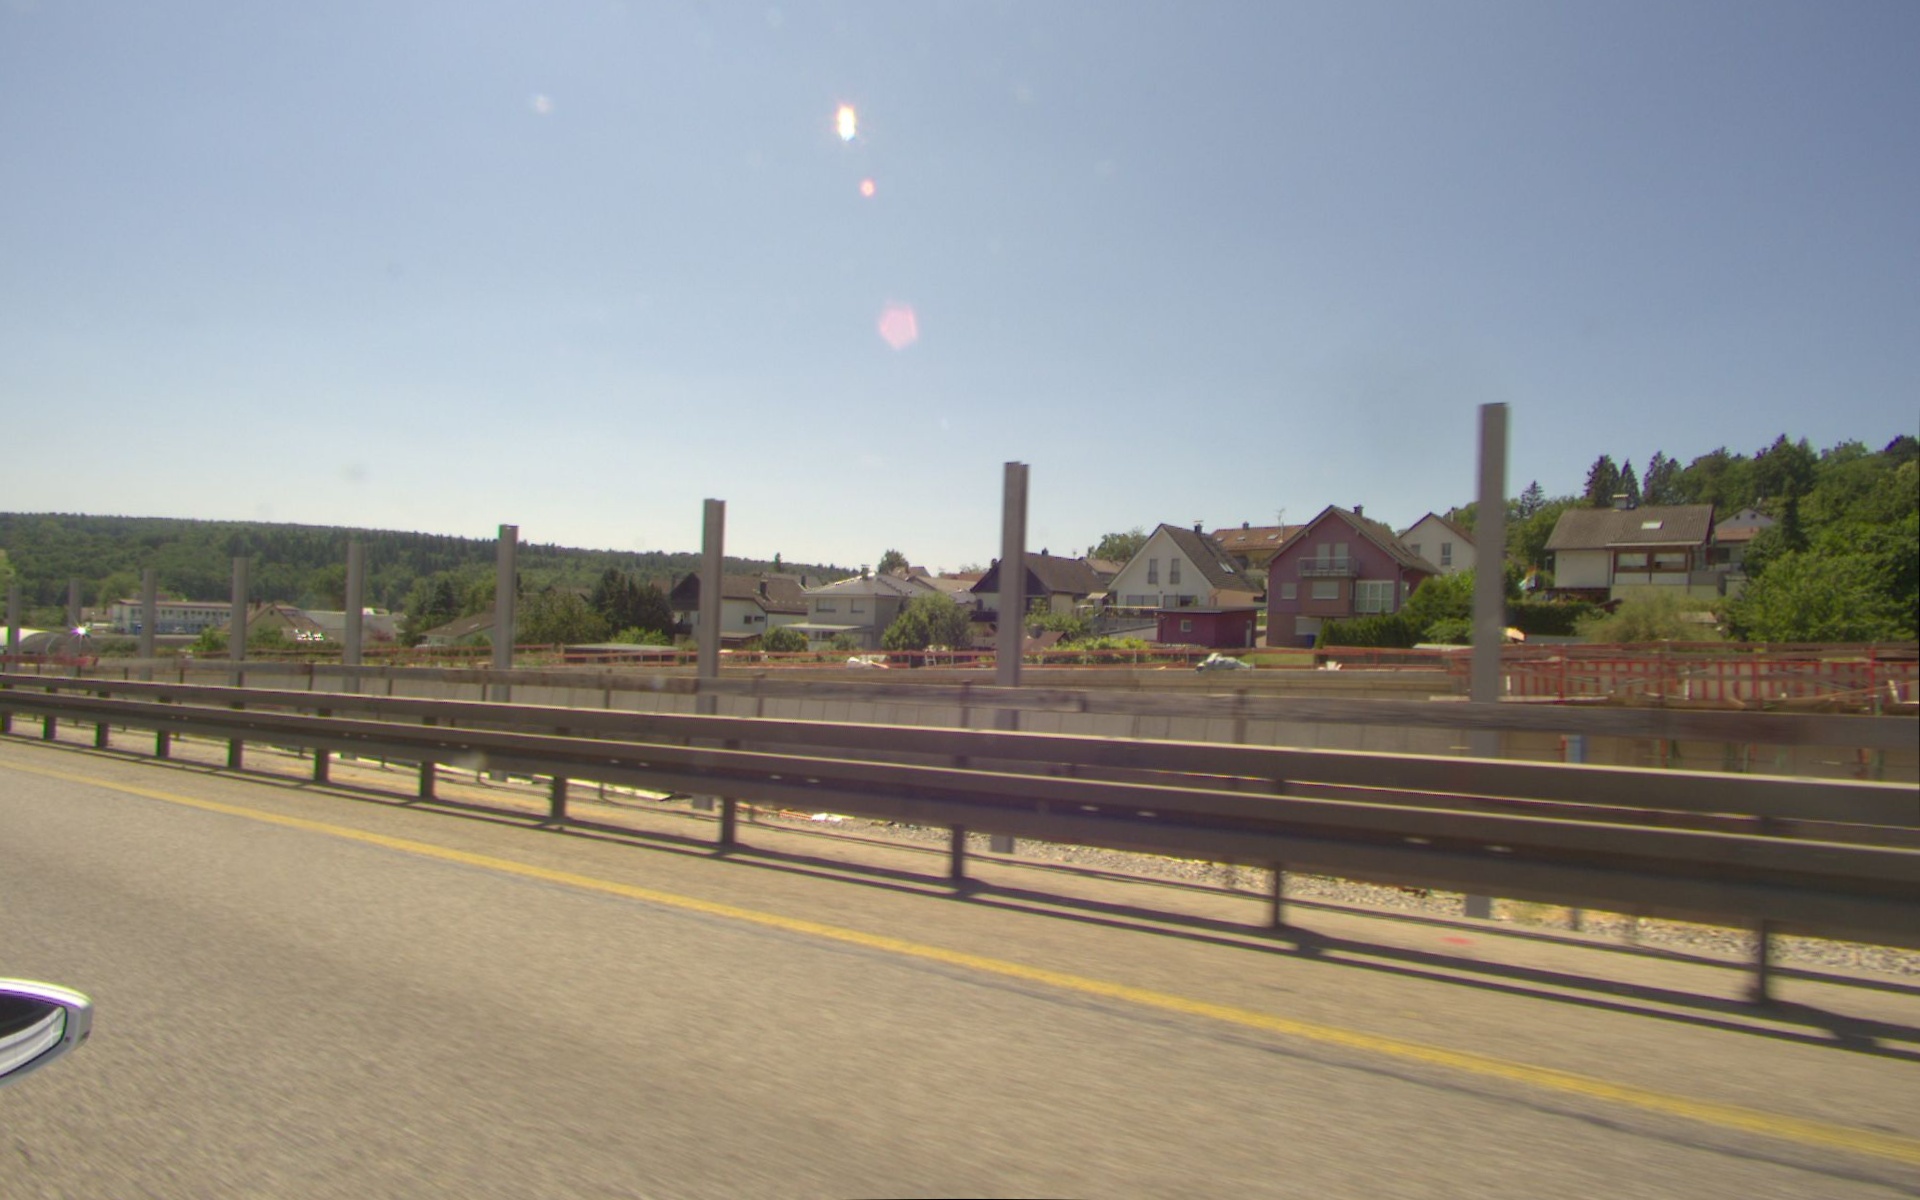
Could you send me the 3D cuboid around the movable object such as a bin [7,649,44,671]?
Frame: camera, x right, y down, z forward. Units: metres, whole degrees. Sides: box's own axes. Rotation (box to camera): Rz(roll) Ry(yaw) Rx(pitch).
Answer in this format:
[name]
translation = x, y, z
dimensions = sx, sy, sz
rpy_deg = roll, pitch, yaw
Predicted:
[movable object such as a bin]
translation = -99.251, 6.395, 106.348
dimensions = 4.094, 2.267, 1.990
rpy_deg = -2, -2, 33
